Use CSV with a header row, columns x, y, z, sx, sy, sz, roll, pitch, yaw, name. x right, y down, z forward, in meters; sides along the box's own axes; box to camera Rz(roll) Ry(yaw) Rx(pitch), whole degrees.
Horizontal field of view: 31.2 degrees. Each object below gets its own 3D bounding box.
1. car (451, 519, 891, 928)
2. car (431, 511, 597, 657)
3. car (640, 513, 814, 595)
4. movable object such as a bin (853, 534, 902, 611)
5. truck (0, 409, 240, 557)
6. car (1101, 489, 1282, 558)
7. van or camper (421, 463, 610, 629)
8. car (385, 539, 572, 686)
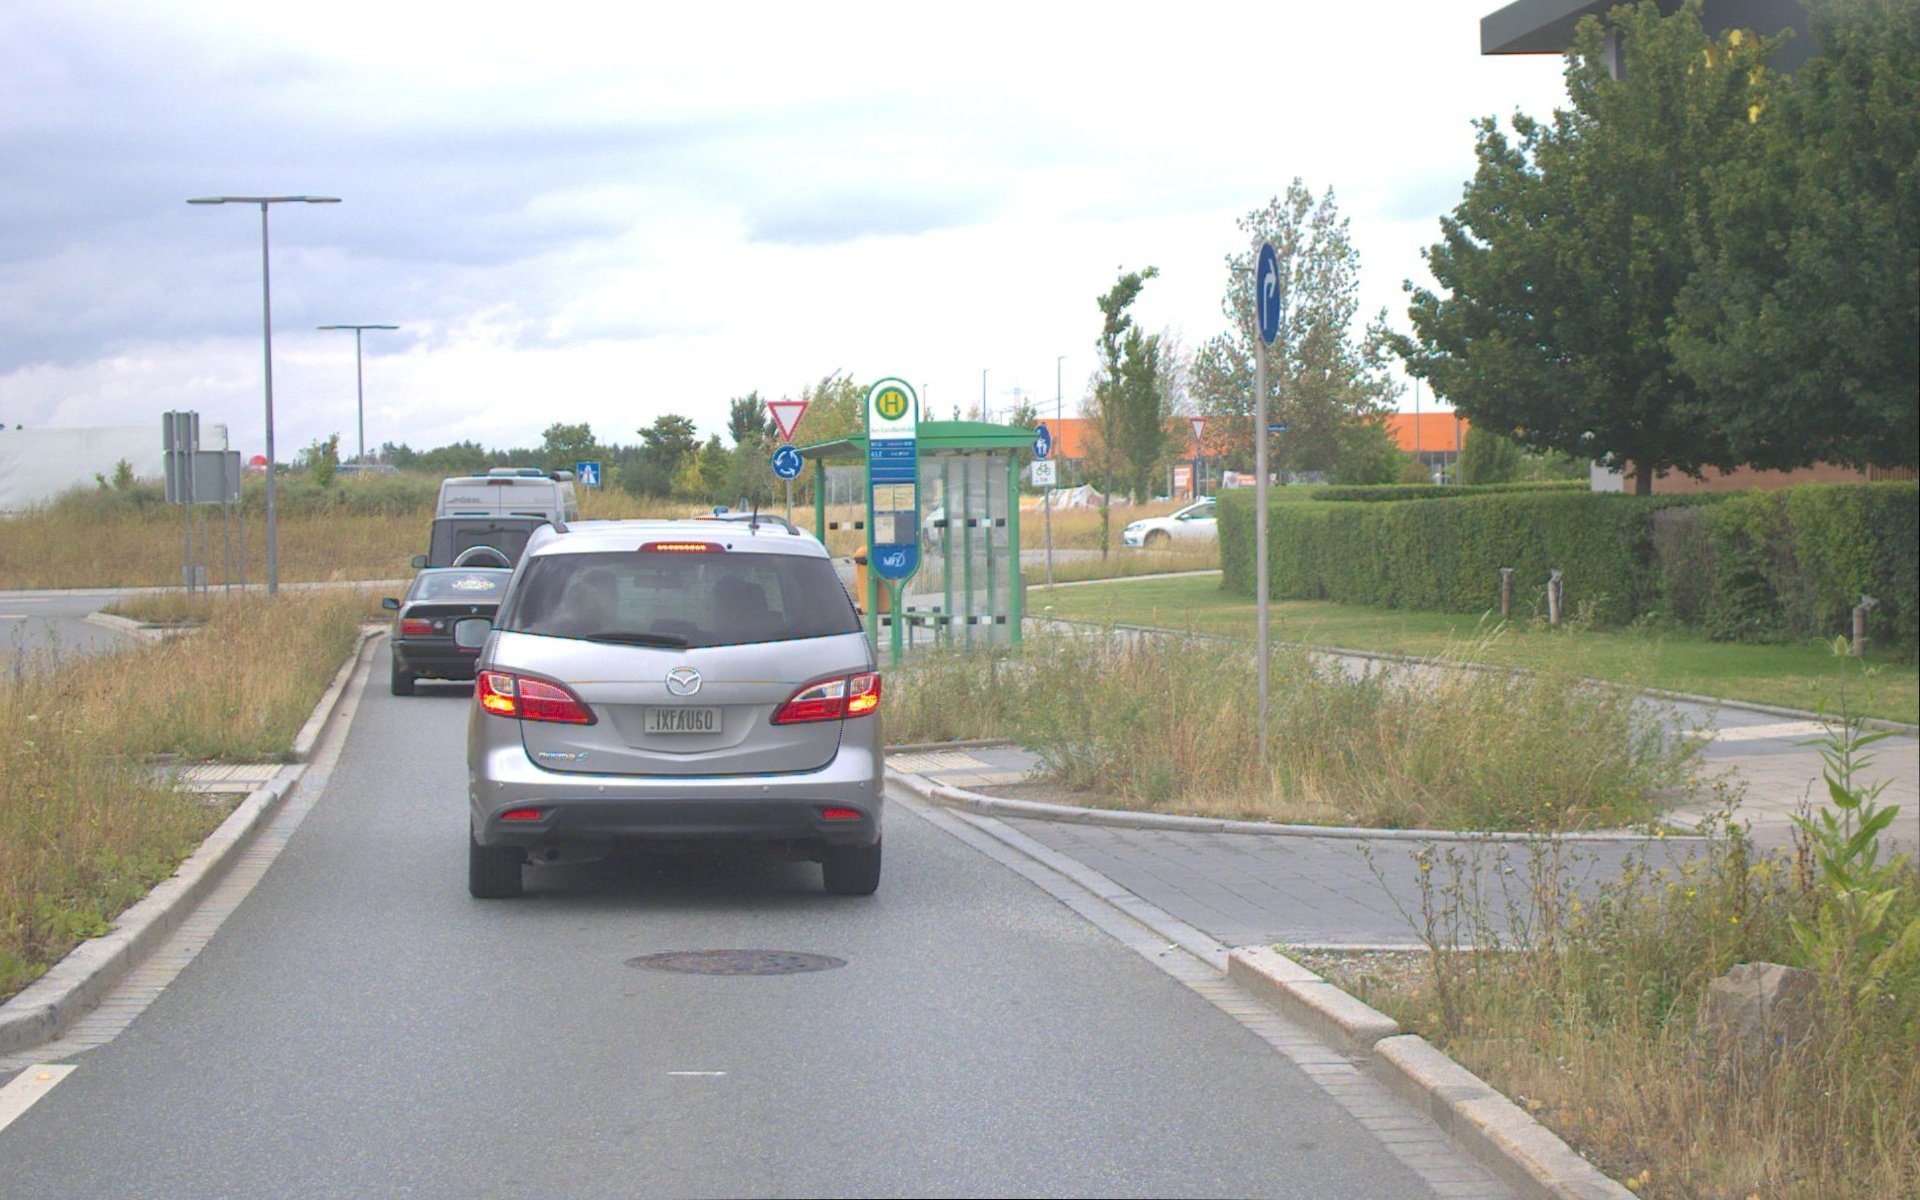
x,y,z,sx,sy,sz,roll,pitch,yaw,name
-1.394,0.442,15.490,1.729,1.594,3.808,0,1,-8,car
-5.880,-0.252,45.738,2.058,1.819,4.787,-1,1,-6,car
-4.479,-0.913,66.721,1.995,1.510,3.997,-1,1,18,car
-0.855,-0.289,35.664,0.456,0.795,0.380,-1,1,-9,movable object such as a bin
-24.496,-3.139,93.057,9.303,3.893,3.144,-2,1,-23,truck
5.999,-1.987,89.474,4.602,1.751,2.000,0,1,2,car
-6.966,-0.877,54.401,2.302,2.497,5.206,0,1,0,van or camper
-5.161,0.090,36.939,1.844,1.413,4.226,-1,2,-8,car
